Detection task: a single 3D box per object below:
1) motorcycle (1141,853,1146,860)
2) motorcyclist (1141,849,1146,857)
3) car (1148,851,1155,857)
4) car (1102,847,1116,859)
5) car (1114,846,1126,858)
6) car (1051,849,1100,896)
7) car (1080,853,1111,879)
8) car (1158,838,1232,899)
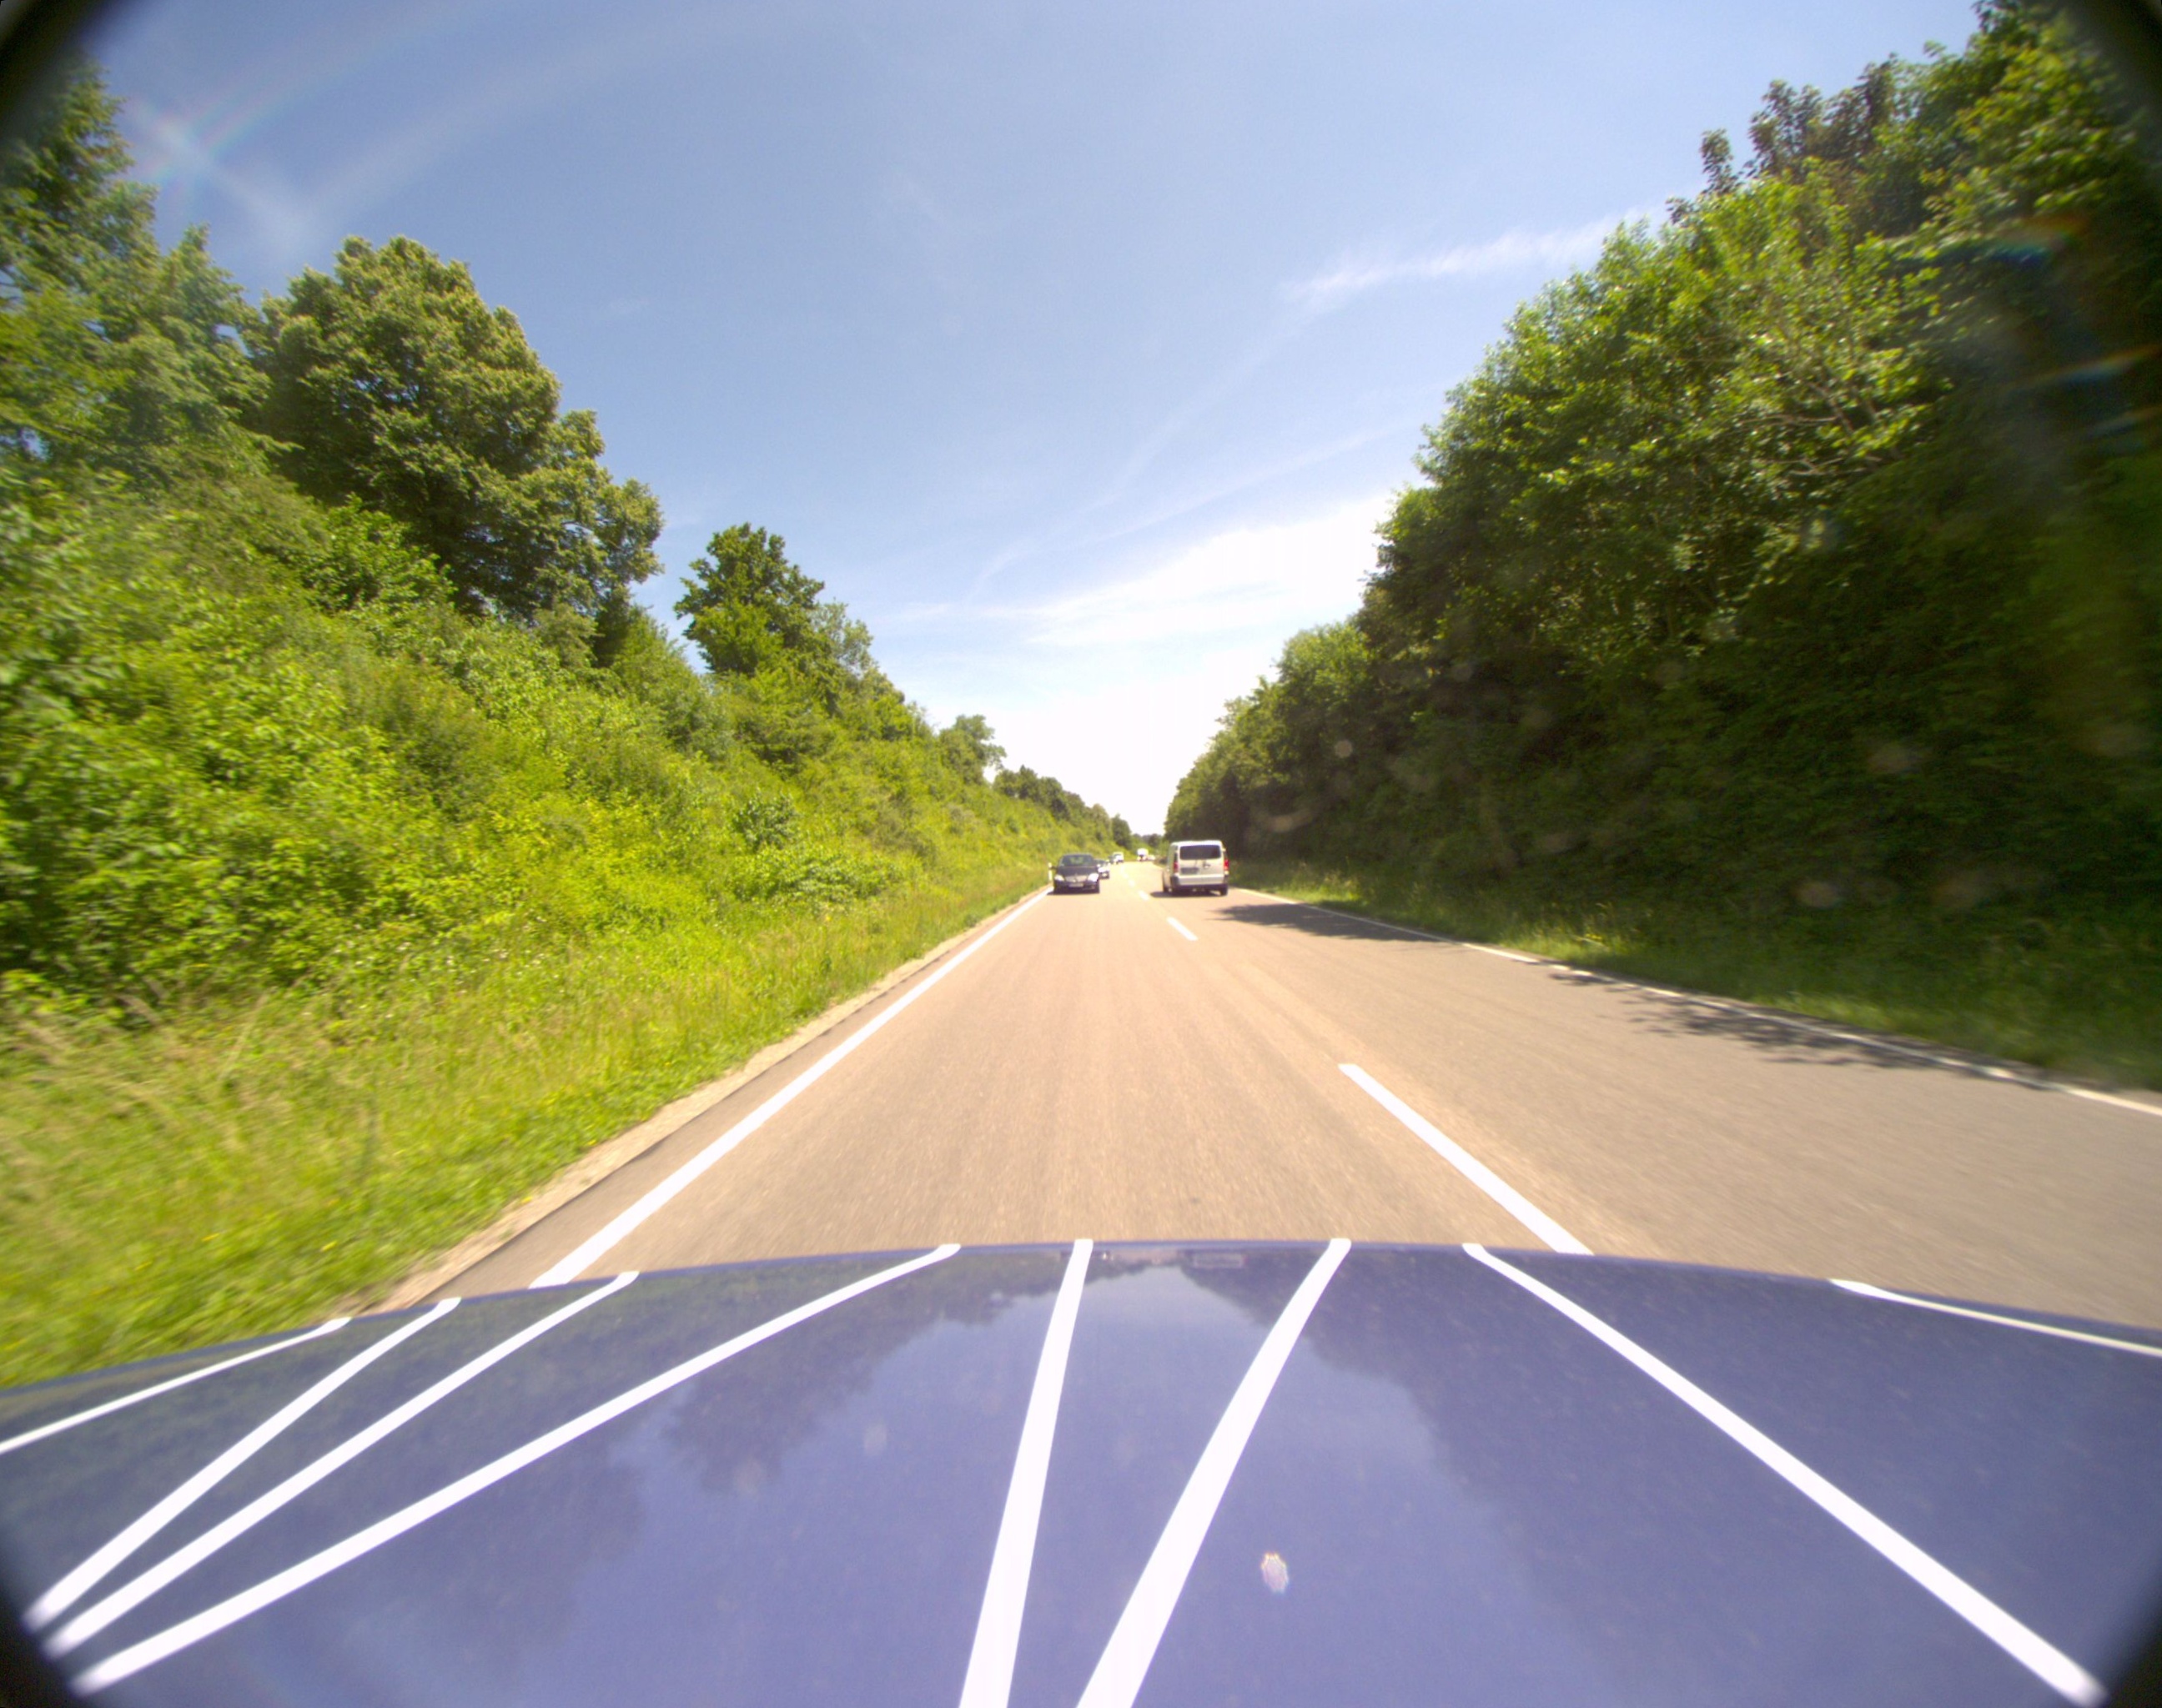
[{"bbox_3d":[11.688,0.416,141.964,0.865,1.214,2.443,-2,0,3],"label":"motorcycle"},{"bbox_3d":[11.670,-0.230,142.020,0.851,1.429,1.074,-2,1,3],"label":"motorcyclist"},{"bbox_3d":[18.458,0.022,199.454,1.681,1.452,4.760,-2,0,3],"label":"car"},{"bbox_3d":[4.313,-0.102,117.485,2.045,1.743,4.166,-2,0,1],"label":"car"},{"bbox_3d":[7.198,-0.383,139.405,1.998,2.002,4.001,-2,1,6],"label":"car"},{"bbox_3d":[-0.143,0.686,30.757,1.783,1.676,4.779,-2,0,1],"label":"car"},{"bbox_3d":[0.944,0.697,46.766,1.709,1.444,5.415,-2,0,2],"label":"car"},{"bbox_3d":[3.976,0.459,27.377,1.936,1.894,5.327,-2,0,1],"label":"car"}]
